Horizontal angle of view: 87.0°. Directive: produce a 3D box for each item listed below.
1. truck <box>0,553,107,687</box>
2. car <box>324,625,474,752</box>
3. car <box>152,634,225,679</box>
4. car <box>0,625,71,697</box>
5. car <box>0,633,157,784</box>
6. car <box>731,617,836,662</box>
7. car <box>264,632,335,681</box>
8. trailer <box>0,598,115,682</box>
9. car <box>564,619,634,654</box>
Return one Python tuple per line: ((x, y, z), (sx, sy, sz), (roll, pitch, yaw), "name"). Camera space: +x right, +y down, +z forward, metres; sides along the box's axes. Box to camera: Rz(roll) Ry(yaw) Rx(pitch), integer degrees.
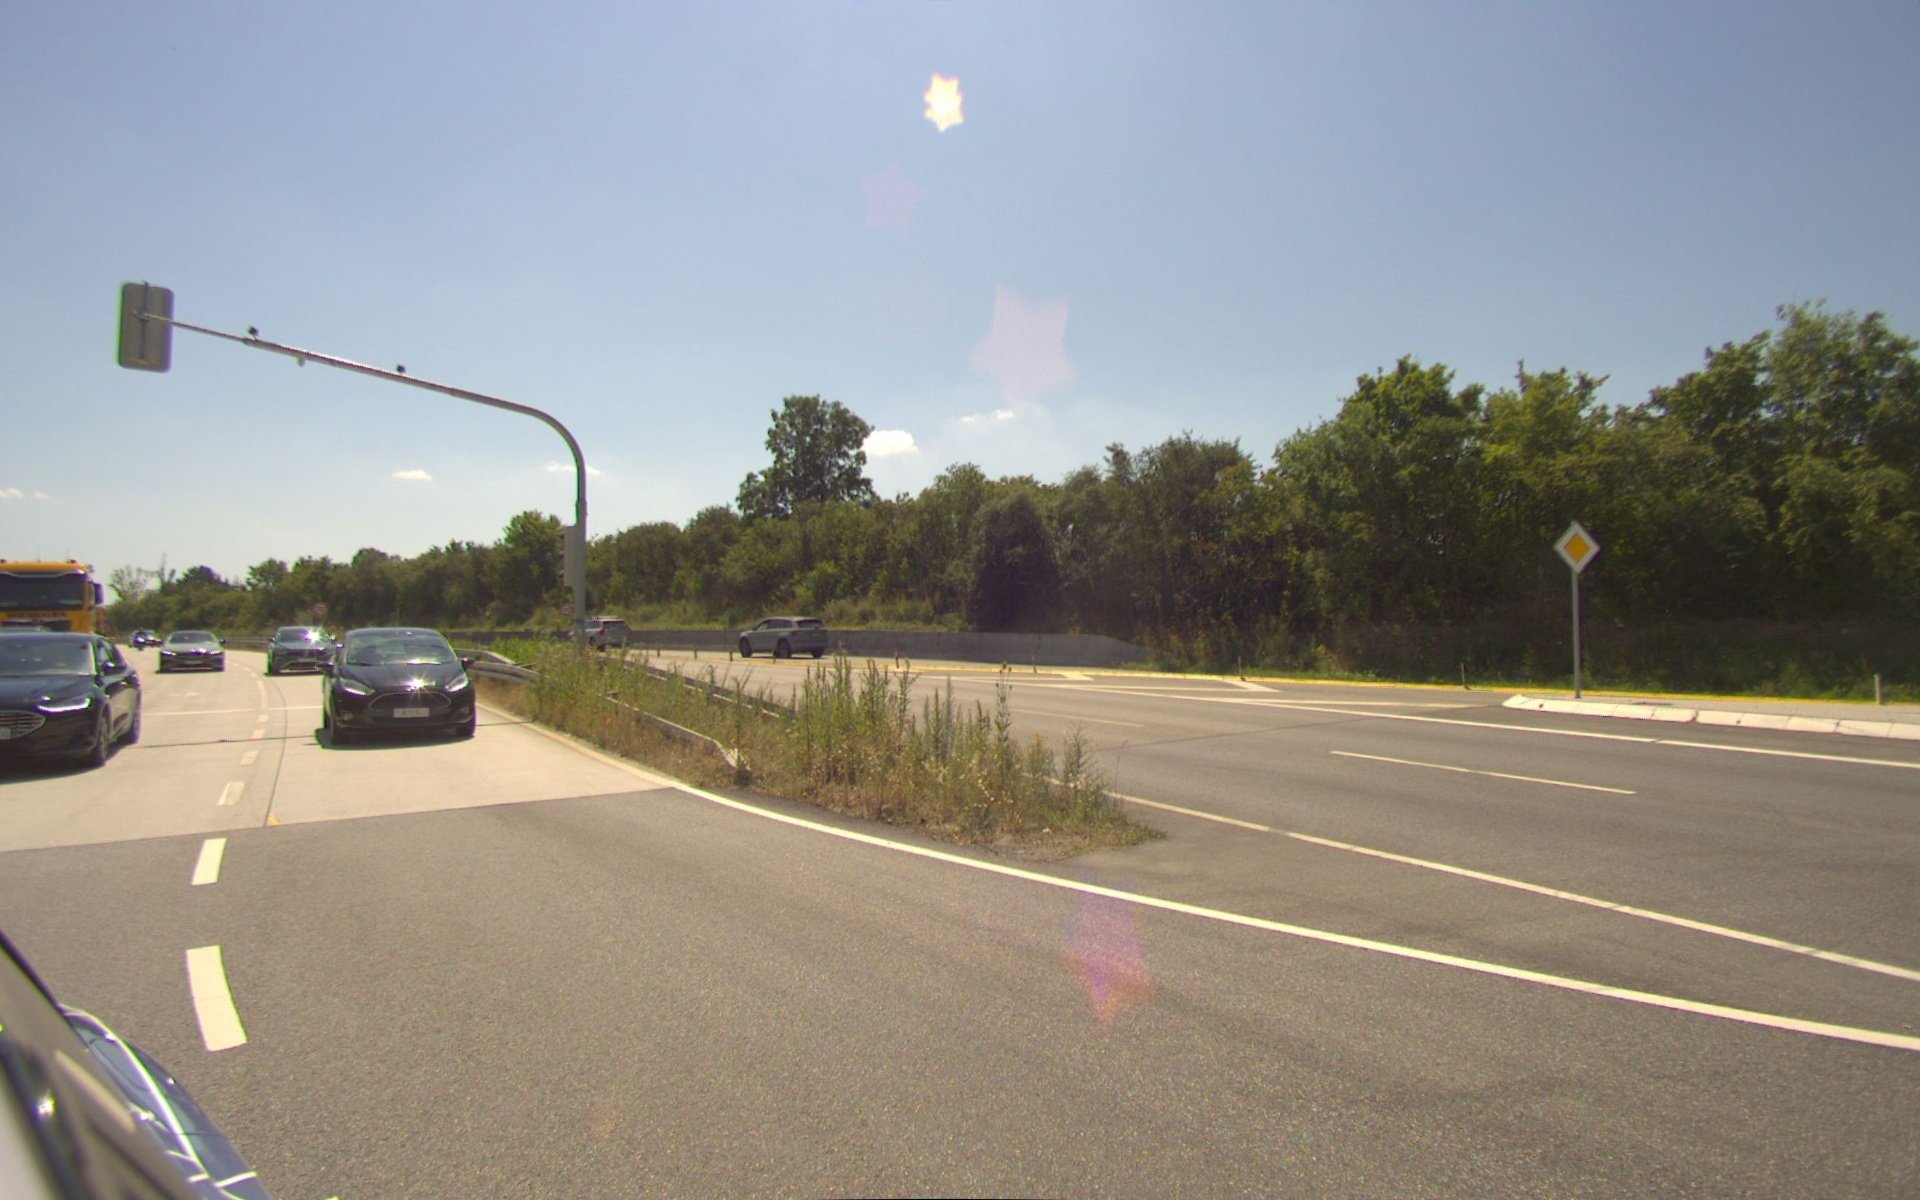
((-29.098, 0.644, 32.045), (2.975, 3.801, 7.483), (1, -2, -39), "truck")
((-7.978, 1.113, 14.228), (1.601, 1.496, 4.011), (0, -1, -33), "car")
((-27.507, 1.961, 36.031), (1.862, 1.475, 4.006), (1, -1, -40), "car")
((-23.619, 1.453, 25.242), (1.760, 1.652, 4.658), (0, -1, -36), "car")
((-10.595, 1.114, 11.525), (1.702, 1.450, 4.316), (0, -2, -31), "car")
((-7.232, 1.576, 41.132), (1.970, 1.705, 4.661), (1, -2, -43), "car")
((-22.021, 1.833, 33.687), (1.680, 1.475, 4.008), (0, -1, -38), "car")
((-34.339, 1.487, 38.547), (2.988, 2.613, 16.386), (1, -2, -39), "trailer")
((-19.362, 1.948, 54.143), (1.968, 1.786, 4.865), (1, -2, -40), "car")
